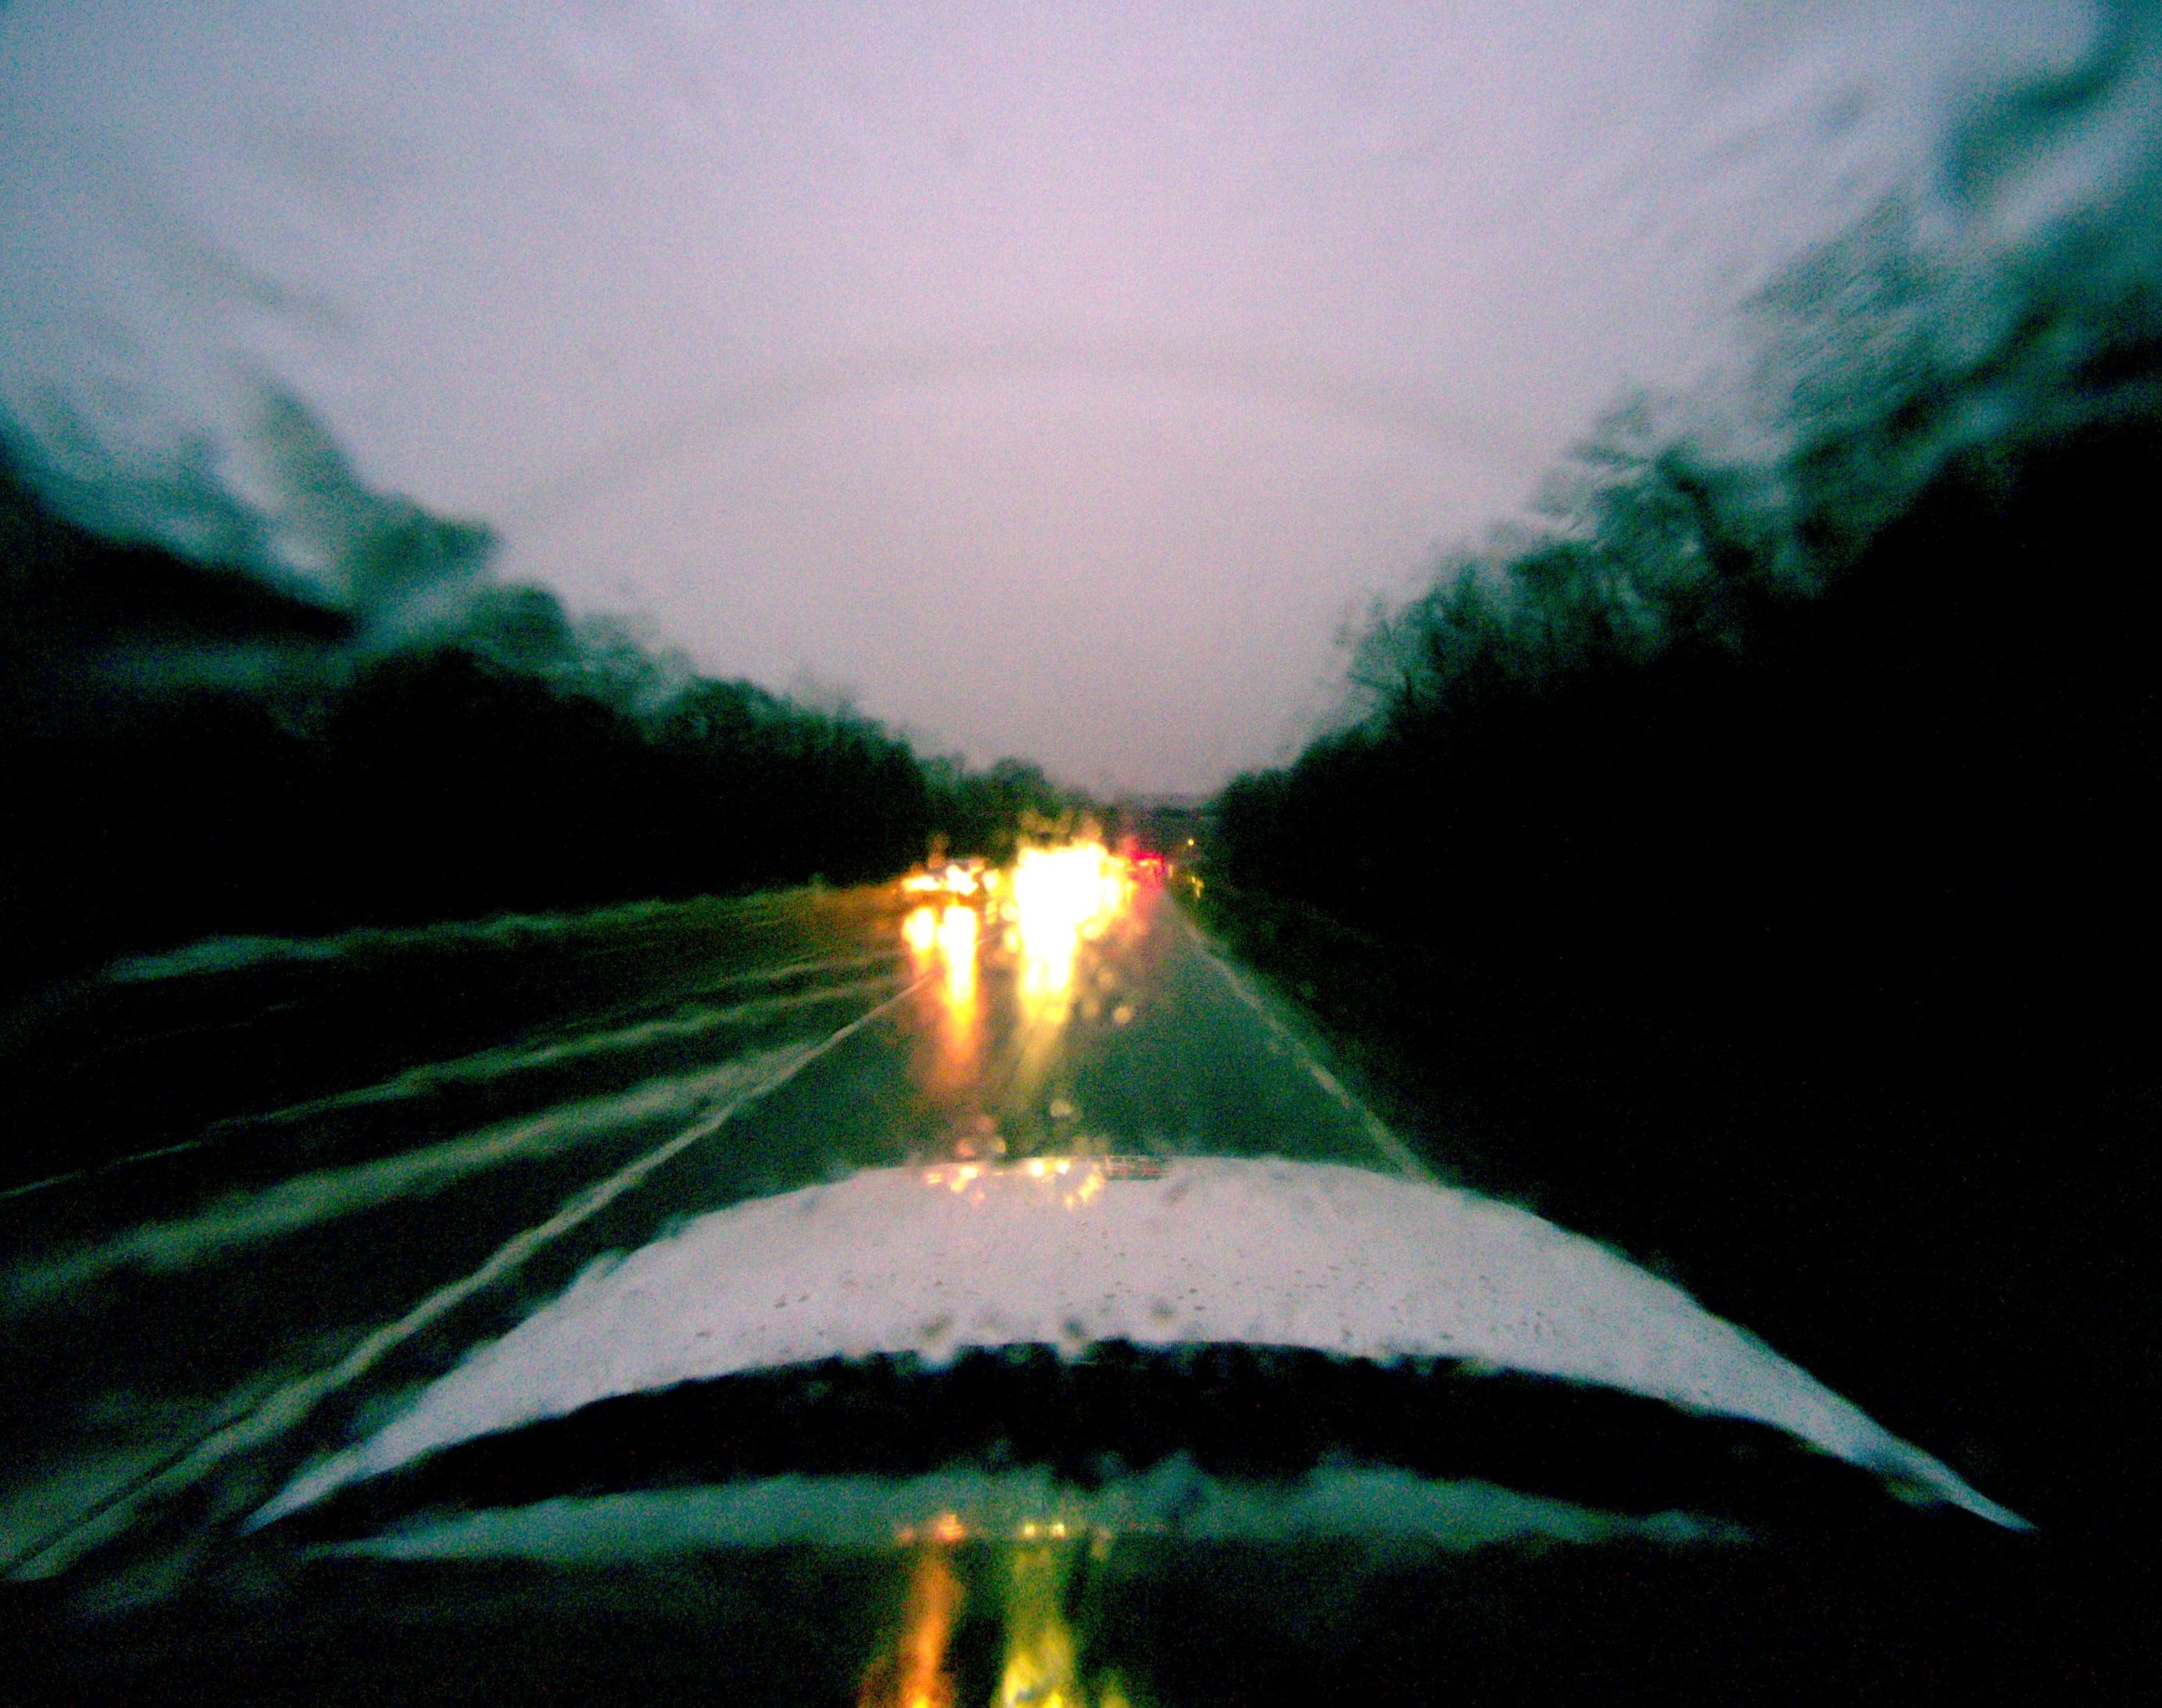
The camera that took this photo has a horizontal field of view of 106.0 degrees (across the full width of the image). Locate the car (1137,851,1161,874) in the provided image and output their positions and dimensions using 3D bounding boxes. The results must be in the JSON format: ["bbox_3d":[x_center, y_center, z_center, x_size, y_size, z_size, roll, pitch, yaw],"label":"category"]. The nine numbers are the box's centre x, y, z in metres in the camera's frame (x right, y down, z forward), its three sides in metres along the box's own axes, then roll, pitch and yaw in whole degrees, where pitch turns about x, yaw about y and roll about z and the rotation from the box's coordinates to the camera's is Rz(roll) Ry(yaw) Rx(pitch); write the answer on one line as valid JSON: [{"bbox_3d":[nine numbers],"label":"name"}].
[{"bbox_3d":[5.428,0.649,64.715,1.670,1.675,4.106,-2,0,7],"label":"car"}]

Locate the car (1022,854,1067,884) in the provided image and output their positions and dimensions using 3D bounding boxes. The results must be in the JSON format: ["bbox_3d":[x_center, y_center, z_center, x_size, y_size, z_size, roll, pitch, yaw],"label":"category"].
[{"bbox_3d":[-2.085,0.833,47.492,1.893,1.648,4.735,-1,0,6],"label":"car"}]

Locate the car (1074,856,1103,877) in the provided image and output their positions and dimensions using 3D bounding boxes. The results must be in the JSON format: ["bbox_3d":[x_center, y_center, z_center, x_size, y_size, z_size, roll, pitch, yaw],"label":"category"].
[{"bbox_3d":[0.614,0.992,66.734,1.850,1.647,4.476,-2,-1,7],"label":"car"}]

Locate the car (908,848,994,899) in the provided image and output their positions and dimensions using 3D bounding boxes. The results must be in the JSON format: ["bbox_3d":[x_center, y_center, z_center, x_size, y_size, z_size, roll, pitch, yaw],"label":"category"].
[{"bbox_3d":[-4.492,0.624,28.761,1.814,1.523,4.307,-3,1,7],"label":"car"}]

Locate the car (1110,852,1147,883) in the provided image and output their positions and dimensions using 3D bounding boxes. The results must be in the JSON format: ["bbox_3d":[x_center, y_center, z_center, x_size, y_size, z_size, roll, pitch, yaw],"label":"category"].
[{"bbox_3d":[2.410,0.621,40.349,1.671,1.389,4.103,-2,0,5],"label":"car"}]
